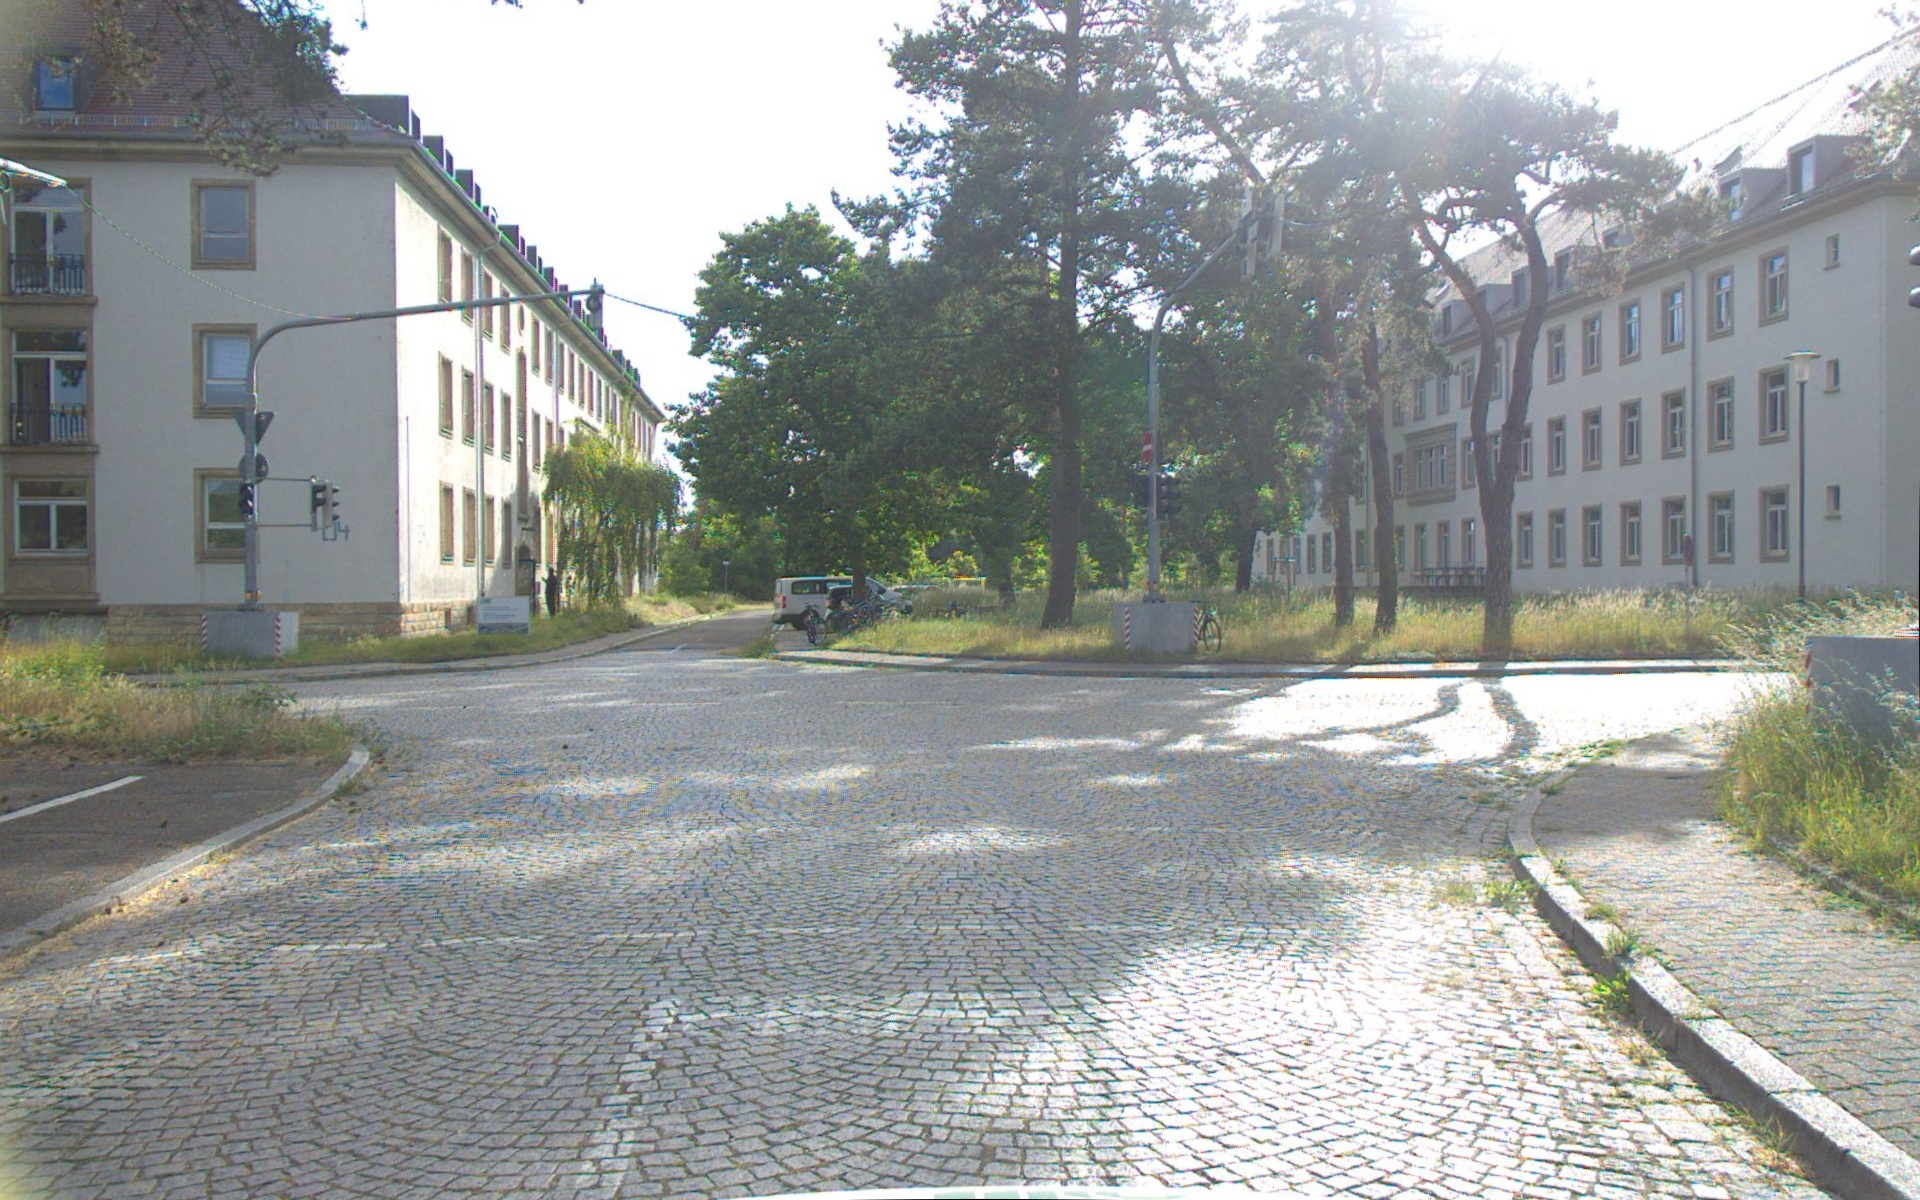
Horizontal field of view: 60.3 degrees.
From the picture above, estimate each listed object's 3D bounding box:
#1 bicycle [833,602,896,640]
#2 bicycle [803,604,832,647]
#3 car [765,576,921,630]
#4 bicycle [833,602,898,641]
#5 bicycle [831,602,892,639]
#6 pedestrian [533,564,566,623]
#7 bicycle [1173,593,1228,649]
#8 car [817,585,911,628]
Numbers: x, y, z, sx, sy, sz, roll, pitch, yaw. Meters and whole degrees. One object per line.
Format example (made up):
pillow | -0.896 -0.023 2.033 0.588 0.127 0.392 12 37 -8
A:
bicycle | -2.712 0.597 46.838 1.758 1.016 0.643 -1 1 -7
bicycle | -3.633 0.626 42.120 0.714 1.016 1.797 -1 1 -5
car | -4.361 0.115 61.647 5.418 1.949 2.242 0 0 -19
bicycle | -2.619 0.593 45.823 1.758 1.016 0.643 -1 1 -7
bicycle | -2.882 0.599 48.328 1.758 1.016 0.643 -1 1 -7
pedestrian | -14.172 -0.227 57.085 0.966 1.998 0.931 0 0 -6
bicycle | 4.681 0.391 32.315 0.552 1.016 1.748 -1 1 -9
car | -3.385 0.233 58.163 2.985 1.491 1.711 0 -1 -18
